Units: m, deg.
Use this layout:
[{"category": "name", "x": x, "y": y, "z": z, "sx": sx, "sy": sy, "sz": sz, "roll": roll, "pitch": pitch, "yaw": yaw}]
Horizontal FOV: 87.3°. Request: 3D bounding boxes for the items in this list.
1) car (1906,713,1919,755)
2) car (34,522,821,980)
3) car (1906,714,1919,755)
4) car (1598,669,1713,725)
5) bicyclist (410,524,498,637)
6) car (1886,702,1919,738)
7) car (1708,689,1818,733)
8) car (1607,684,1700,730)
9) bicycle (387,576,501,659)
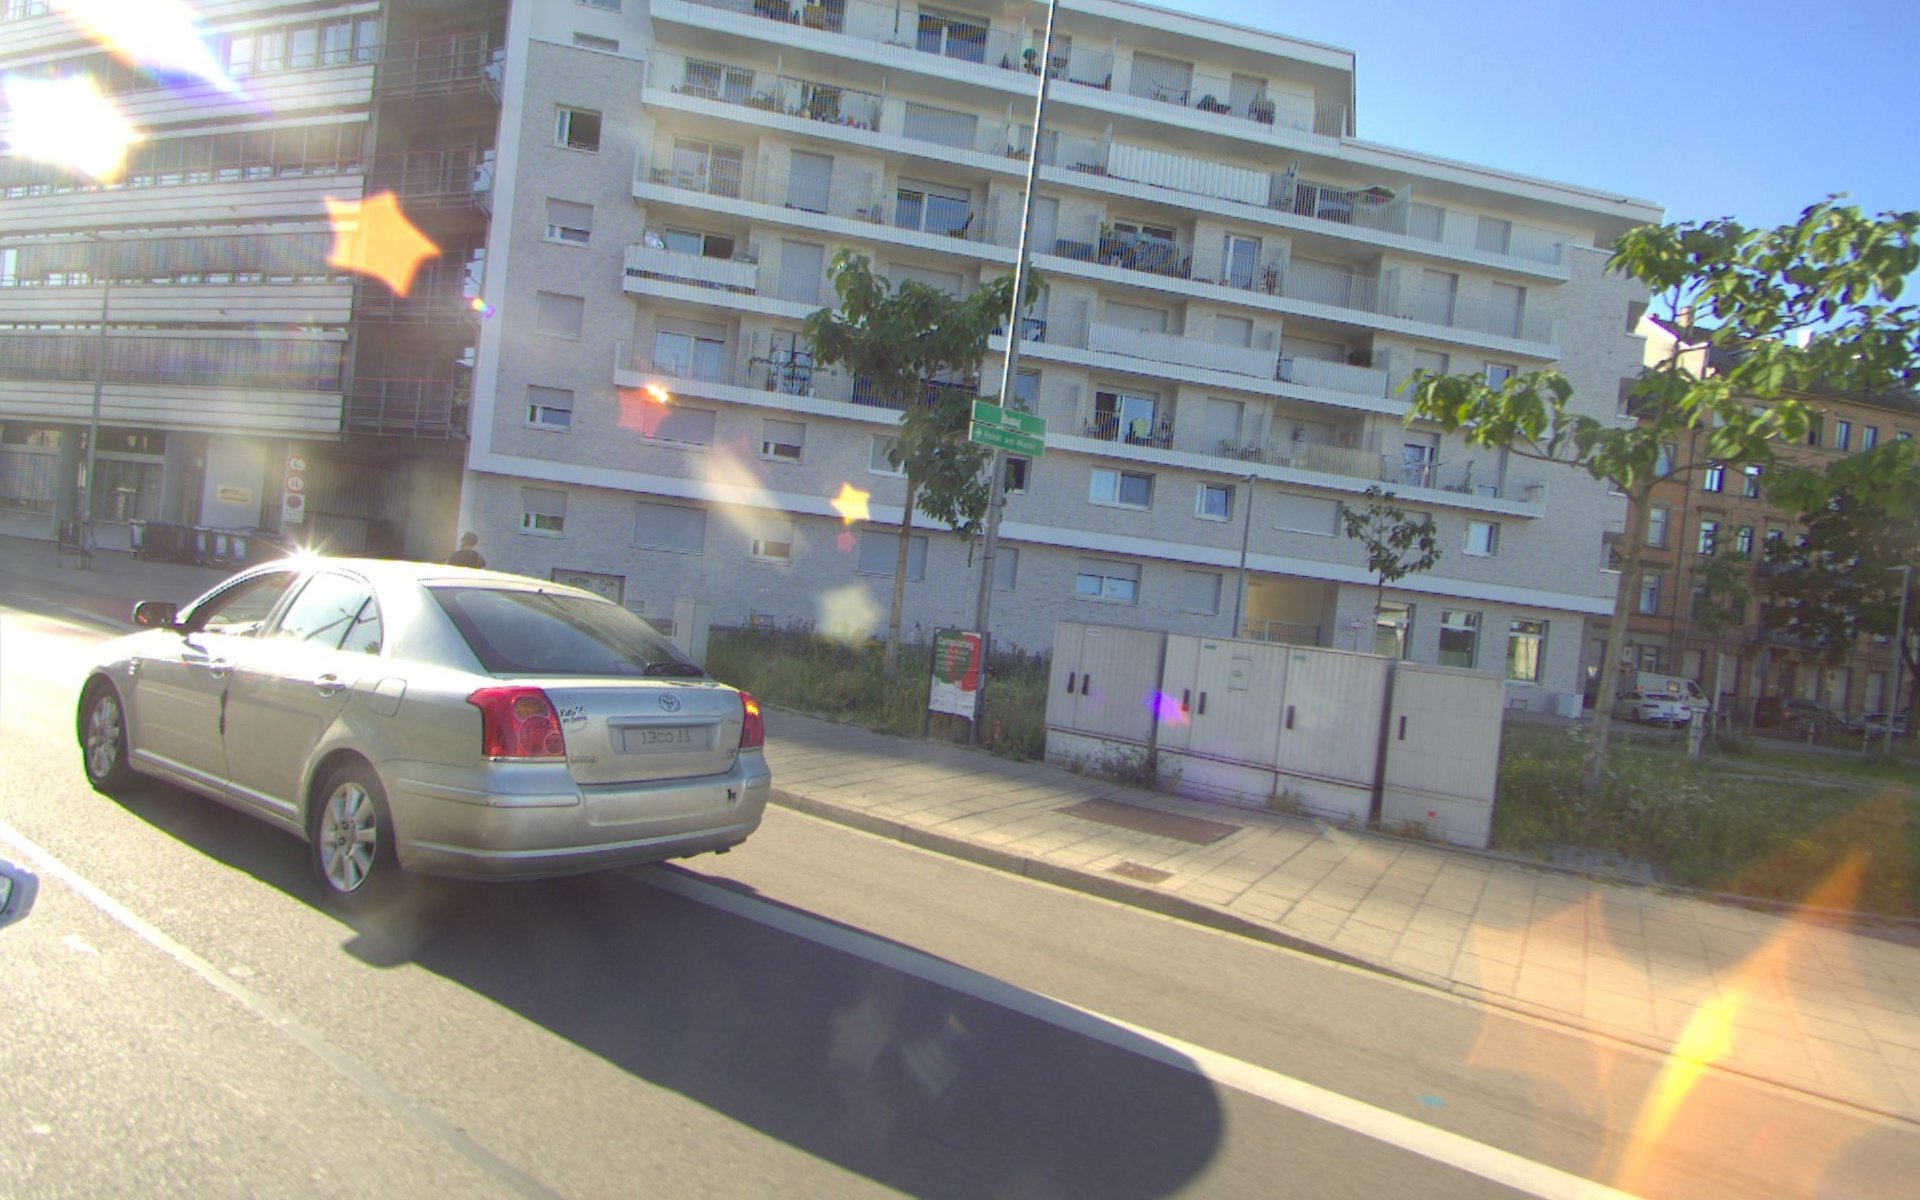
[{"category": "car", "x": 41.924, "y": 5.805, "z": 41.475, "sx": 3.942, "sy": 1.738, "sz": 1.991, "roll": 6, "pitch": 0, "yaw": 39}, {"category": "car", "x": -3.085, "y": 0.507, "z": 5.506, "sx": 4.415, "sy": 1.449, "sz": 1.752, "roll": 6, "pitch": 0, "yaw": 32}, {"category": "car", "x": 43.976, "y": 6.130, "z": 43.692, "sx": 3.942, "sy": 1.738, "sz": 1.991, "roll": 6, "pitch": 0, "yaw": 39}, {"category": "car", "x": 35.463, "y": 4.932, "z": 51.366, "sx": 4.514, "sy": 2.239, "sz": 1.997, "roll": 6, "pitch": 0, "yaw": -8}, {"category": "bicyclist", "x": -7.642, "y": -0.299, "z": 15.193, "sx": 1.026, "sy": 1.586, "sz": 0.625, "roll": 6, "pitch": 1, "yaw": 33}, {"category": "car", "x": 53.708, "y": 6.786, "z": 55.230, "sx": 4.190, "sy": 1.738, "sz": 1.996, "roll": 6, "pitch": 0, "yaw": -10}, {"category": "car", "x": 42.929, "y": 5.908, "z": 53.888, "sx": 1.966, "sy": 1.738, "sz": 4.255, "roll": 6, "pitch": -1, "yaw": -10}, {"category": "car", "x": 28.538, "y": 4.380, "z": 41.544, "sx": 1.962, "sy": 1.415, "sz": 4.001, "roll": 6, "pitch": -1, "yaw": 18}, {"category": "bicycle", "x": -7.892, "y": 0.255, "z": 15.344, "sx": 2.171, "sy": 1.045, "sz": 0.499, "roll": 6, "pitch": 0, "yaw": 34}]
